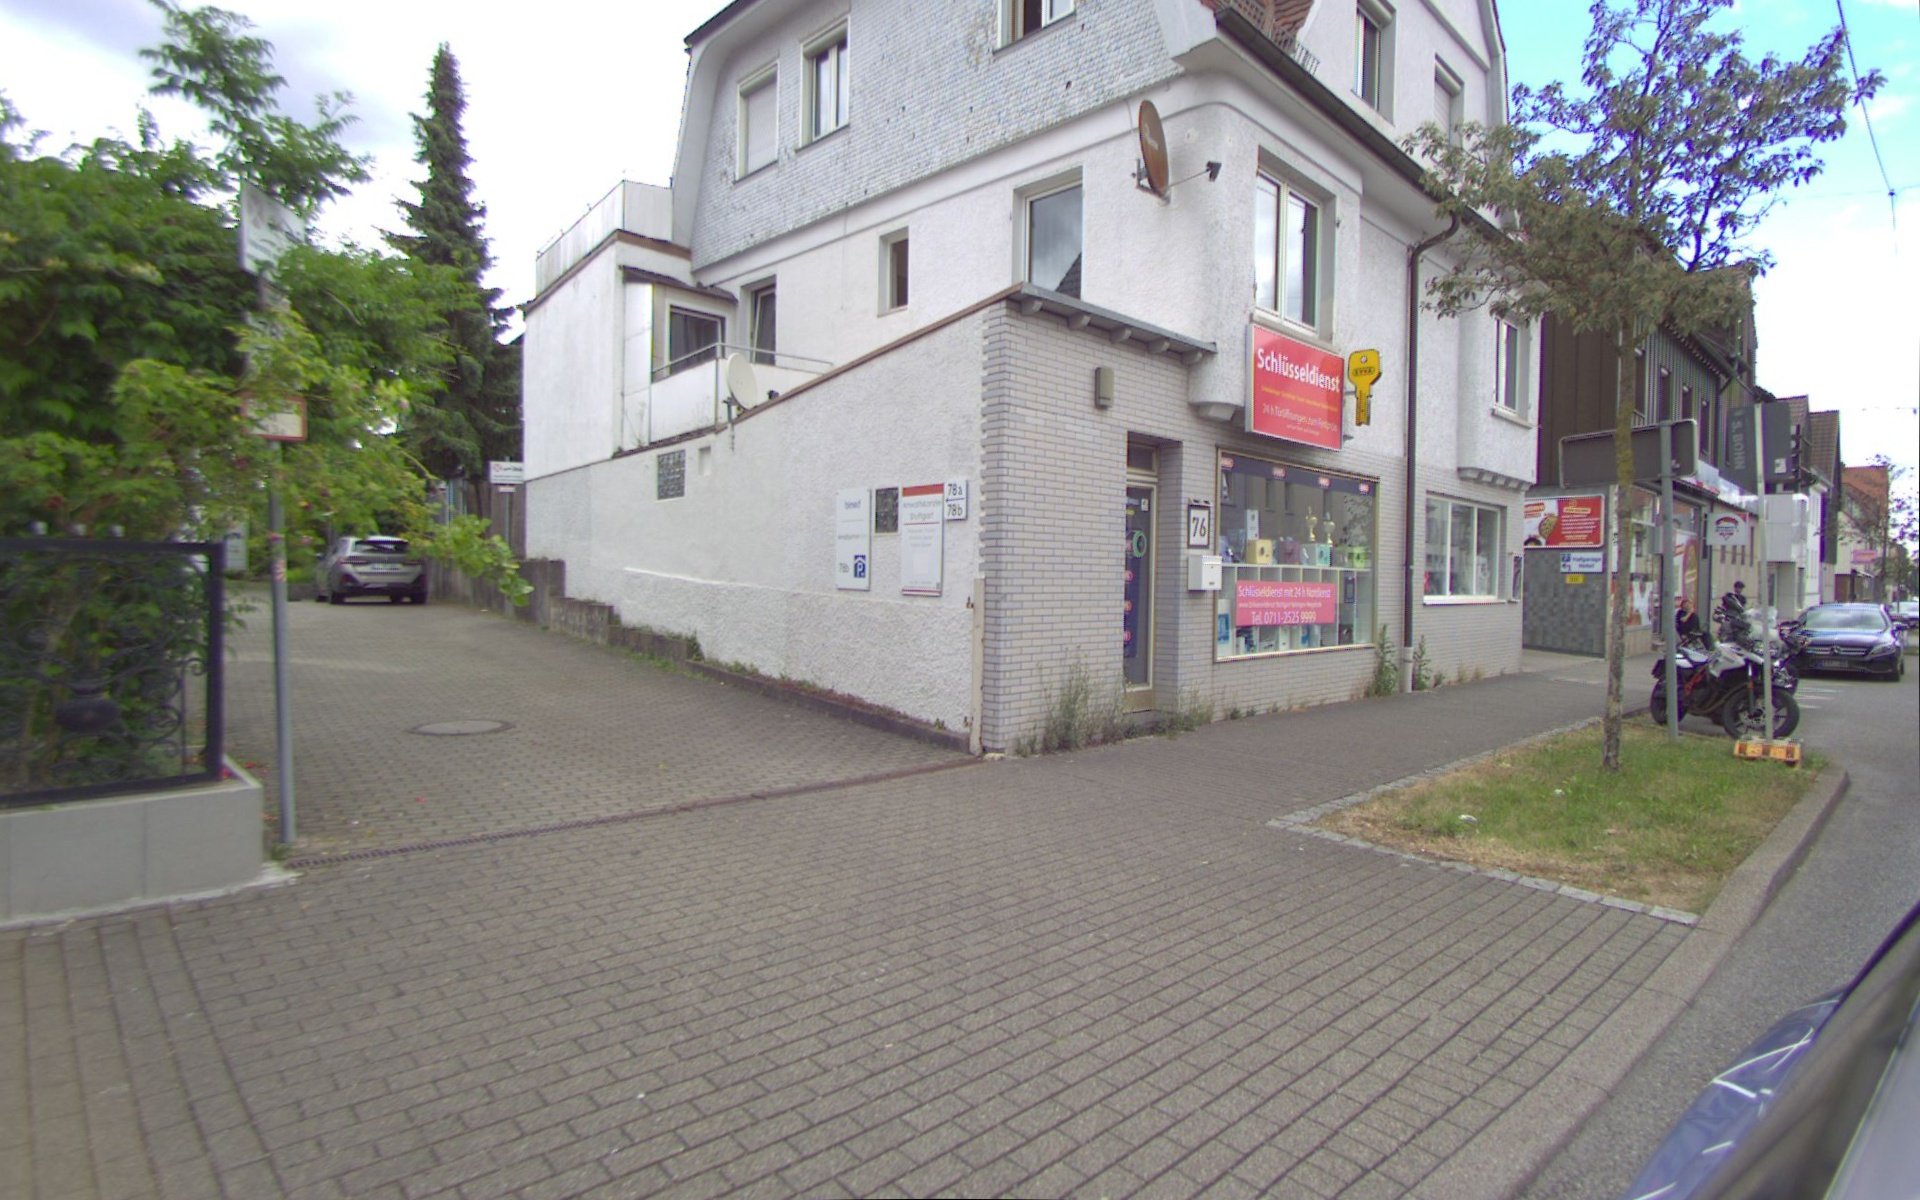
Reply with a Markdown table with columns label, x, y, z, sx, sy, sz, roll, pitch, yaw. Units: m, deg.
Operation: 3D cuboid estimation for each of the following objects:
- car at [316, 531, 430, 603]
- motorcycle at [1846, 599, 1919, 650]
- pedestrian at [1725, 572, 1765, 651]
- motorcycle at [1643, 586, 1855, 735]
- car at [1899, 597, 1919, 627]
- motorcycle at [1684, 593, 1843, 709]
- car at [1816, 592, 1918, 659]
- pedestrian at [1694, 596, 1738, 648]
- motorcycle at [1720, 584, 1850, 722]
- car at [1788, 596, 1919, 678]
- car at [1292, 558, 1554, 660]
| label | x | y | z | sx | sy | sz | roll | pitch | yaw |
| --- | --- | --- | --- | --- | --- | --- | --- | --- | --- |
| car | -13.361 | -0.777 | 22.950 | 1.718 | 1.488 | 3.998 | 0 | 3 | -38 |
| motorcycle | 24.265 | 0.634 | 26.469 | 1.564 | 1.308 | 0.499 | 0 | 0 | 17 |
| pedestrian | 18.071 | 0.257 | 23.293 | 0.641 | 1.762 | 0.731 | 3 | 2 | 40 |
| motorcycle | 8.263 | 0.557 | 10.759 | 0.763 | 1.399 | 2.238 | 0 | 1 | 9 |
| car | 47.335 | 0.592 | 49.495 | 3.884 | 1.380 | 1.792 | 0 | 3 | -44 |
| motorcycle | 10.752 | 0.637 | 13.515 | 2.418 | 1.458 | 0.651 | 0 | 0 | -25 |
| car | 21.819 | 0.550 | 24.304 | 1.641 | 1.460 | 3.840 | 1 | 1 | 45 |
| pedestrian | 18.702 | 0.530 | 25.030 | 0.633 | 1.226 | 0.740 | 0 | 2 | -45 |
| motorcycle | 10.112 | 0.581 | 12.366 | 2.550 | 1.544 | 0.672 | 0 | 1 | -38 |
| car | 18.228 | 0.659 | 20.526 | 1.825 | 1.426 | 4.492 | 1 | 1 | 45 |
| car | 8.888 | 0.085 | 19.669 | 1.824 | 1.607 | 4.204 | 0 | 4 | -44 |
